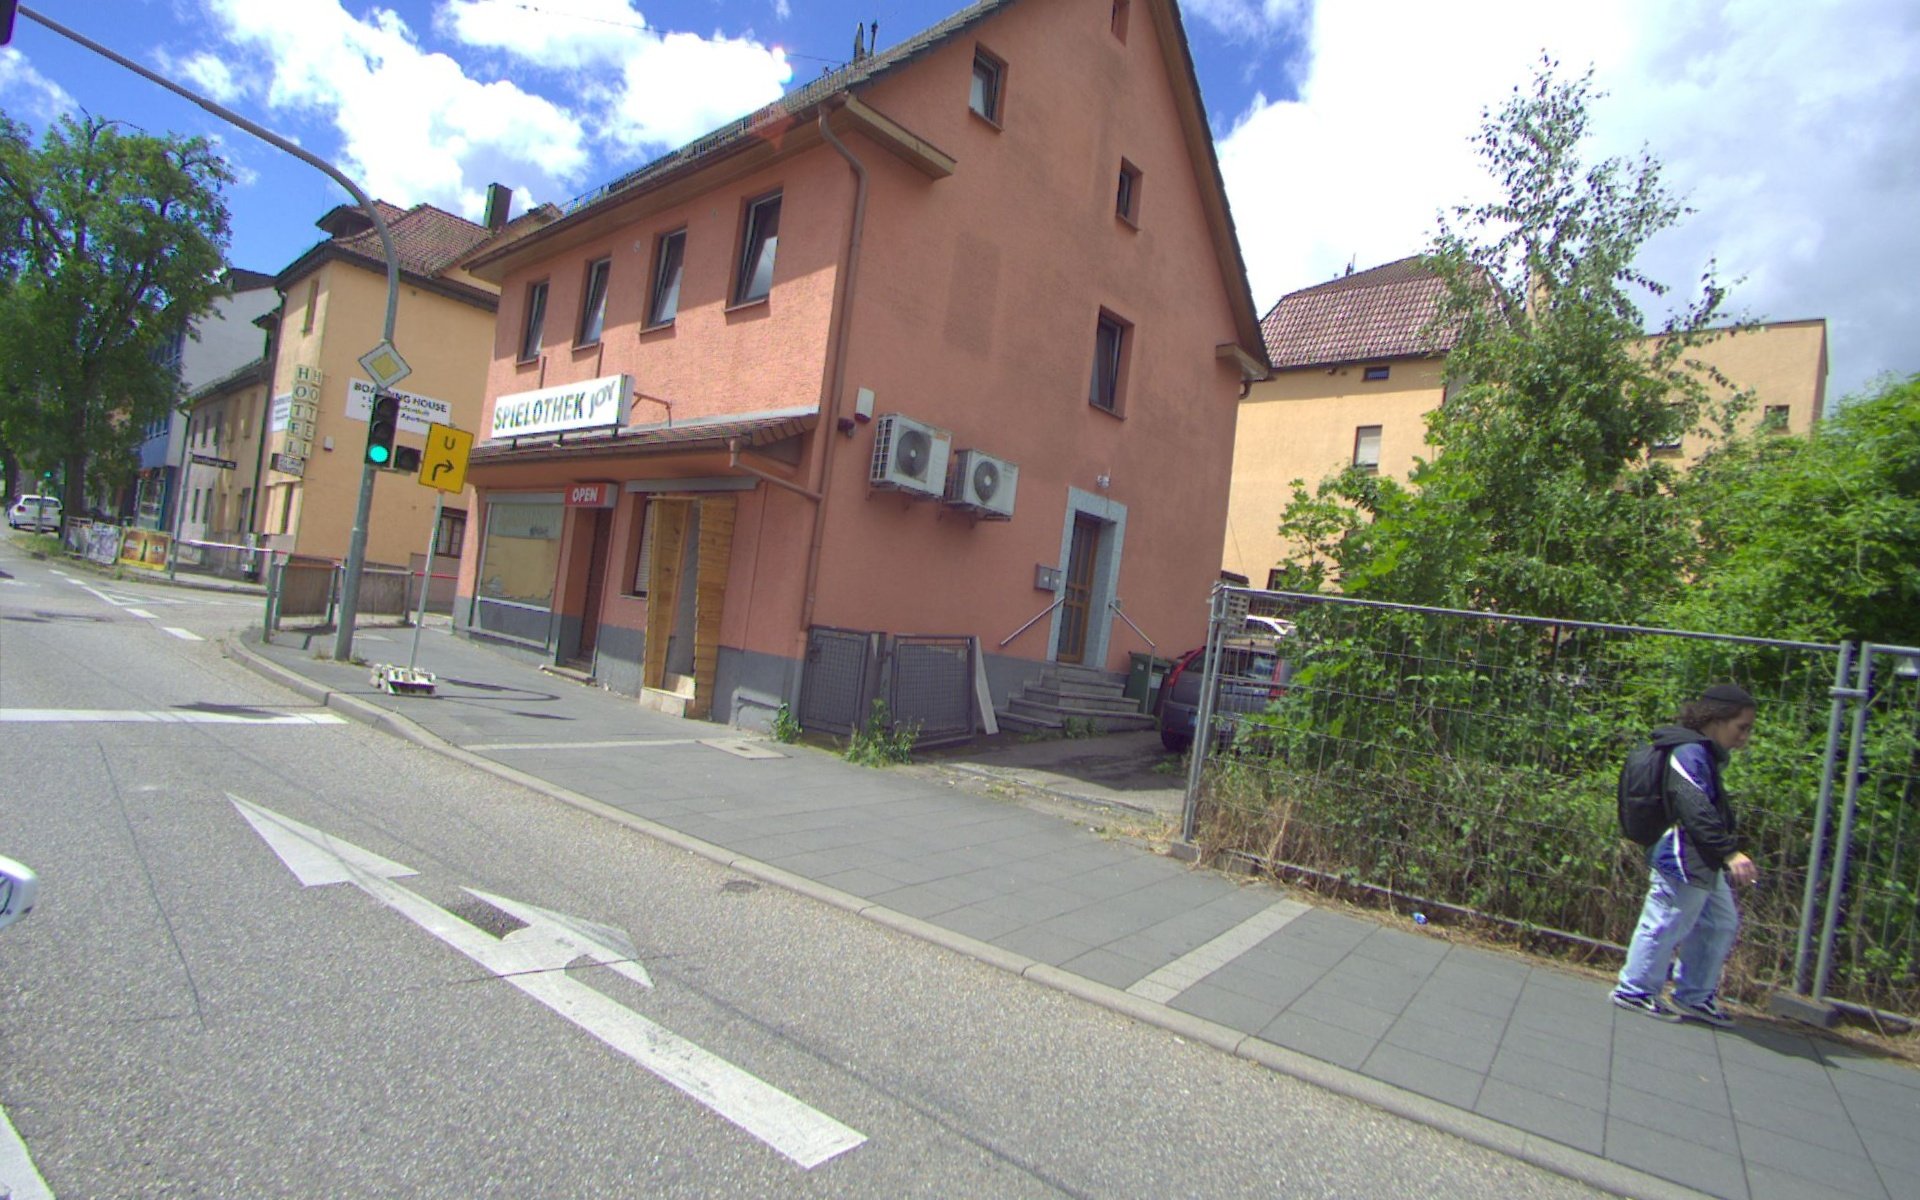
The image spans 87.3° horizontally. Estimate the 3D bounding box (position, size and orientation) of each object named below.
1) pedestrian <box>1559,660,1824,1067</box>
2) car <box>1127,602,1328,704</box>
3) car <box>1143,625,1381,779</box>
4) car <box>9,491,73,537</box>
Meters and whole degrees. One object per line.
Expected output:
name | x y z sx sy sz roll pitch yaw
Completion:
pedestrian | 3.543 1.191 4.872 0.767 1.663 0.762 9 1 43
car | 6.213 1.214 23.645 3.947 1.804 1.990 7 -1 44
car | 3.796 1.193 12.479 1.627 1.516 2.796 7 2 43
car | -39.442 -3.676 43.155 1.782 1.615 3.950 7 -1 -45
